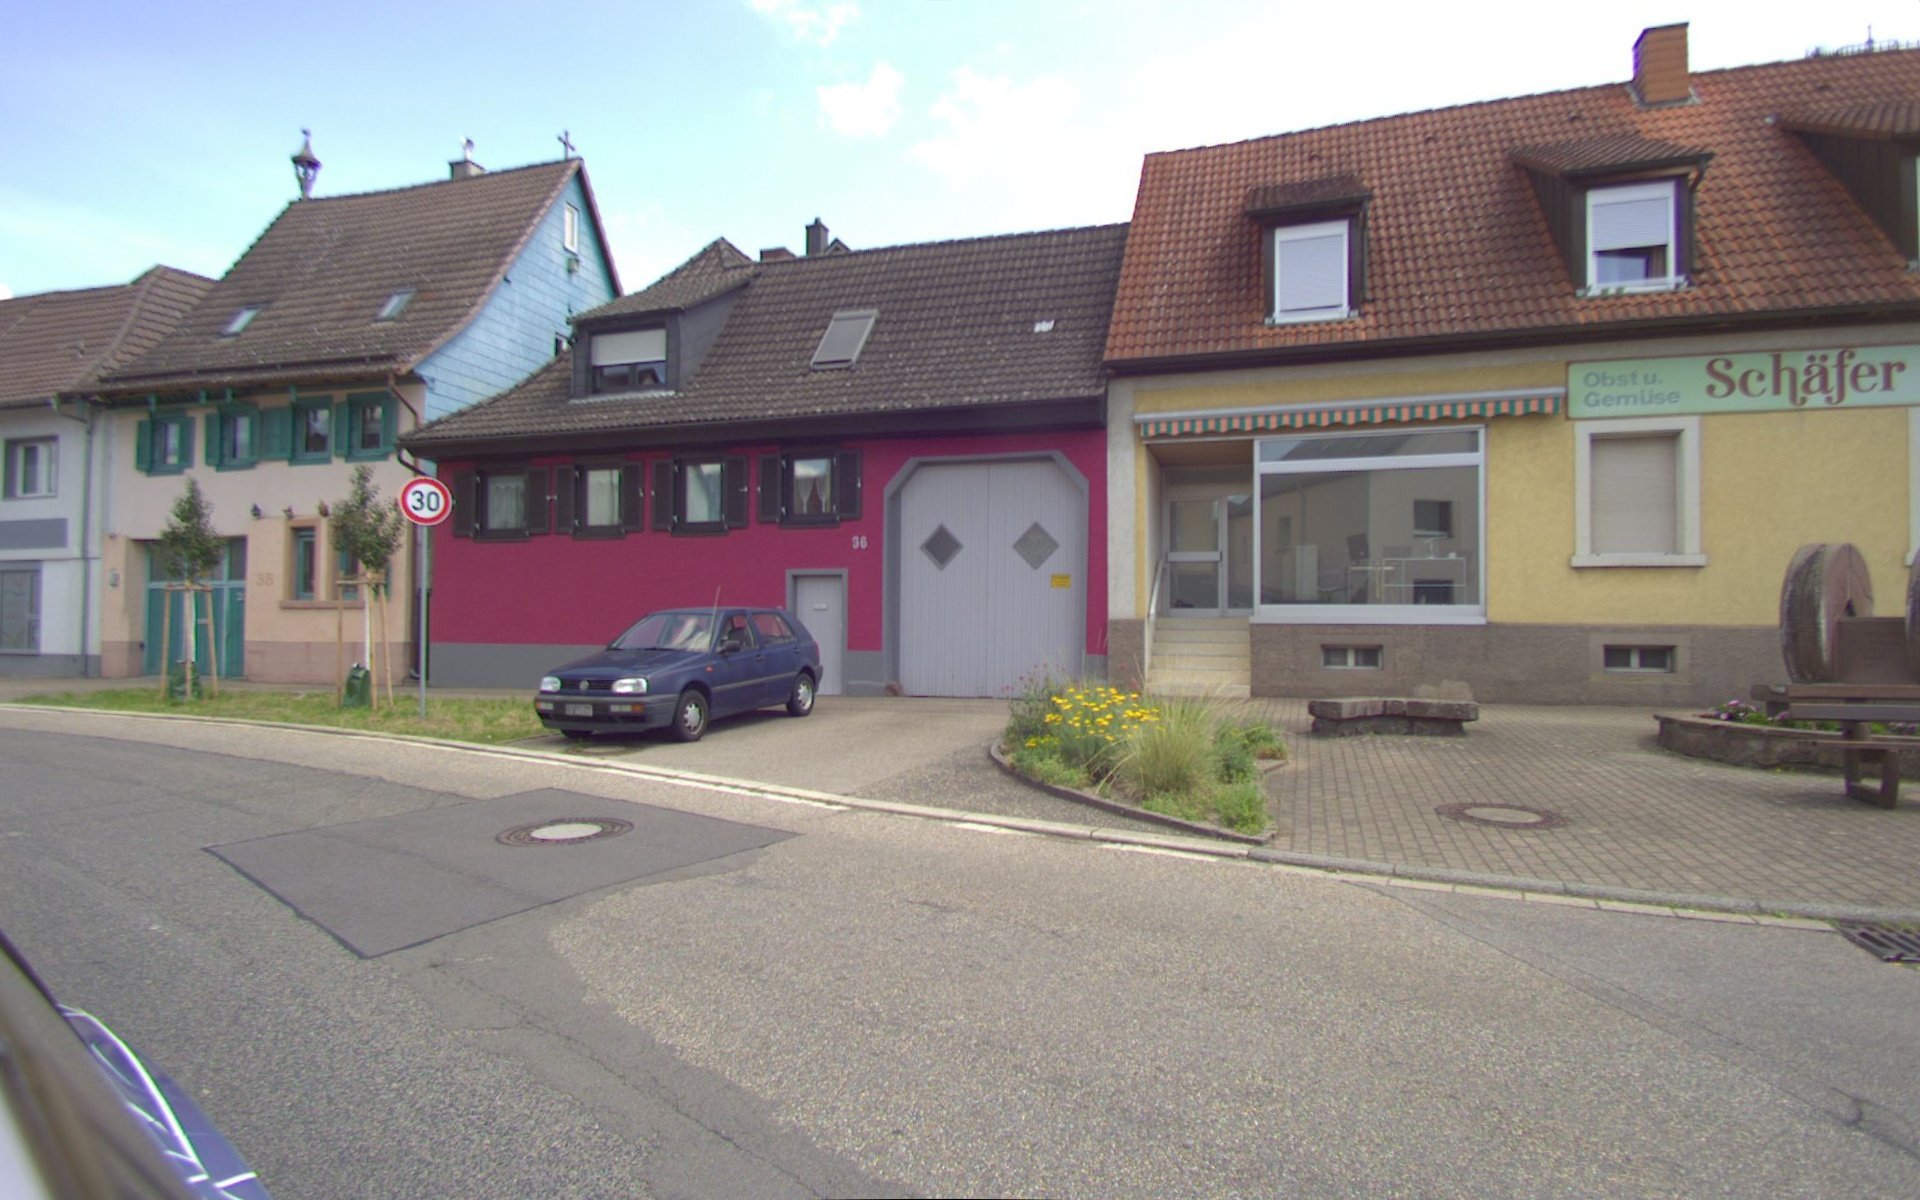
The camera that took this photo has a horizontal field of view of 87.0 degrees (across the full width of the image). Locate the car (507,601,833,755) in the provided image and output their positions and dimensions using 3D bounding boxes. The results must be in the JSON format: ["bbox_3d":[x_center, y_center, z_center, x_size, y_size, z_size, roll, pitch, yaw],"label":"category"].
[{"bbox_3d":[-3.150,0.755,11.880,1.708,1.475,3.953,0,0,20],"label":"car"}]
